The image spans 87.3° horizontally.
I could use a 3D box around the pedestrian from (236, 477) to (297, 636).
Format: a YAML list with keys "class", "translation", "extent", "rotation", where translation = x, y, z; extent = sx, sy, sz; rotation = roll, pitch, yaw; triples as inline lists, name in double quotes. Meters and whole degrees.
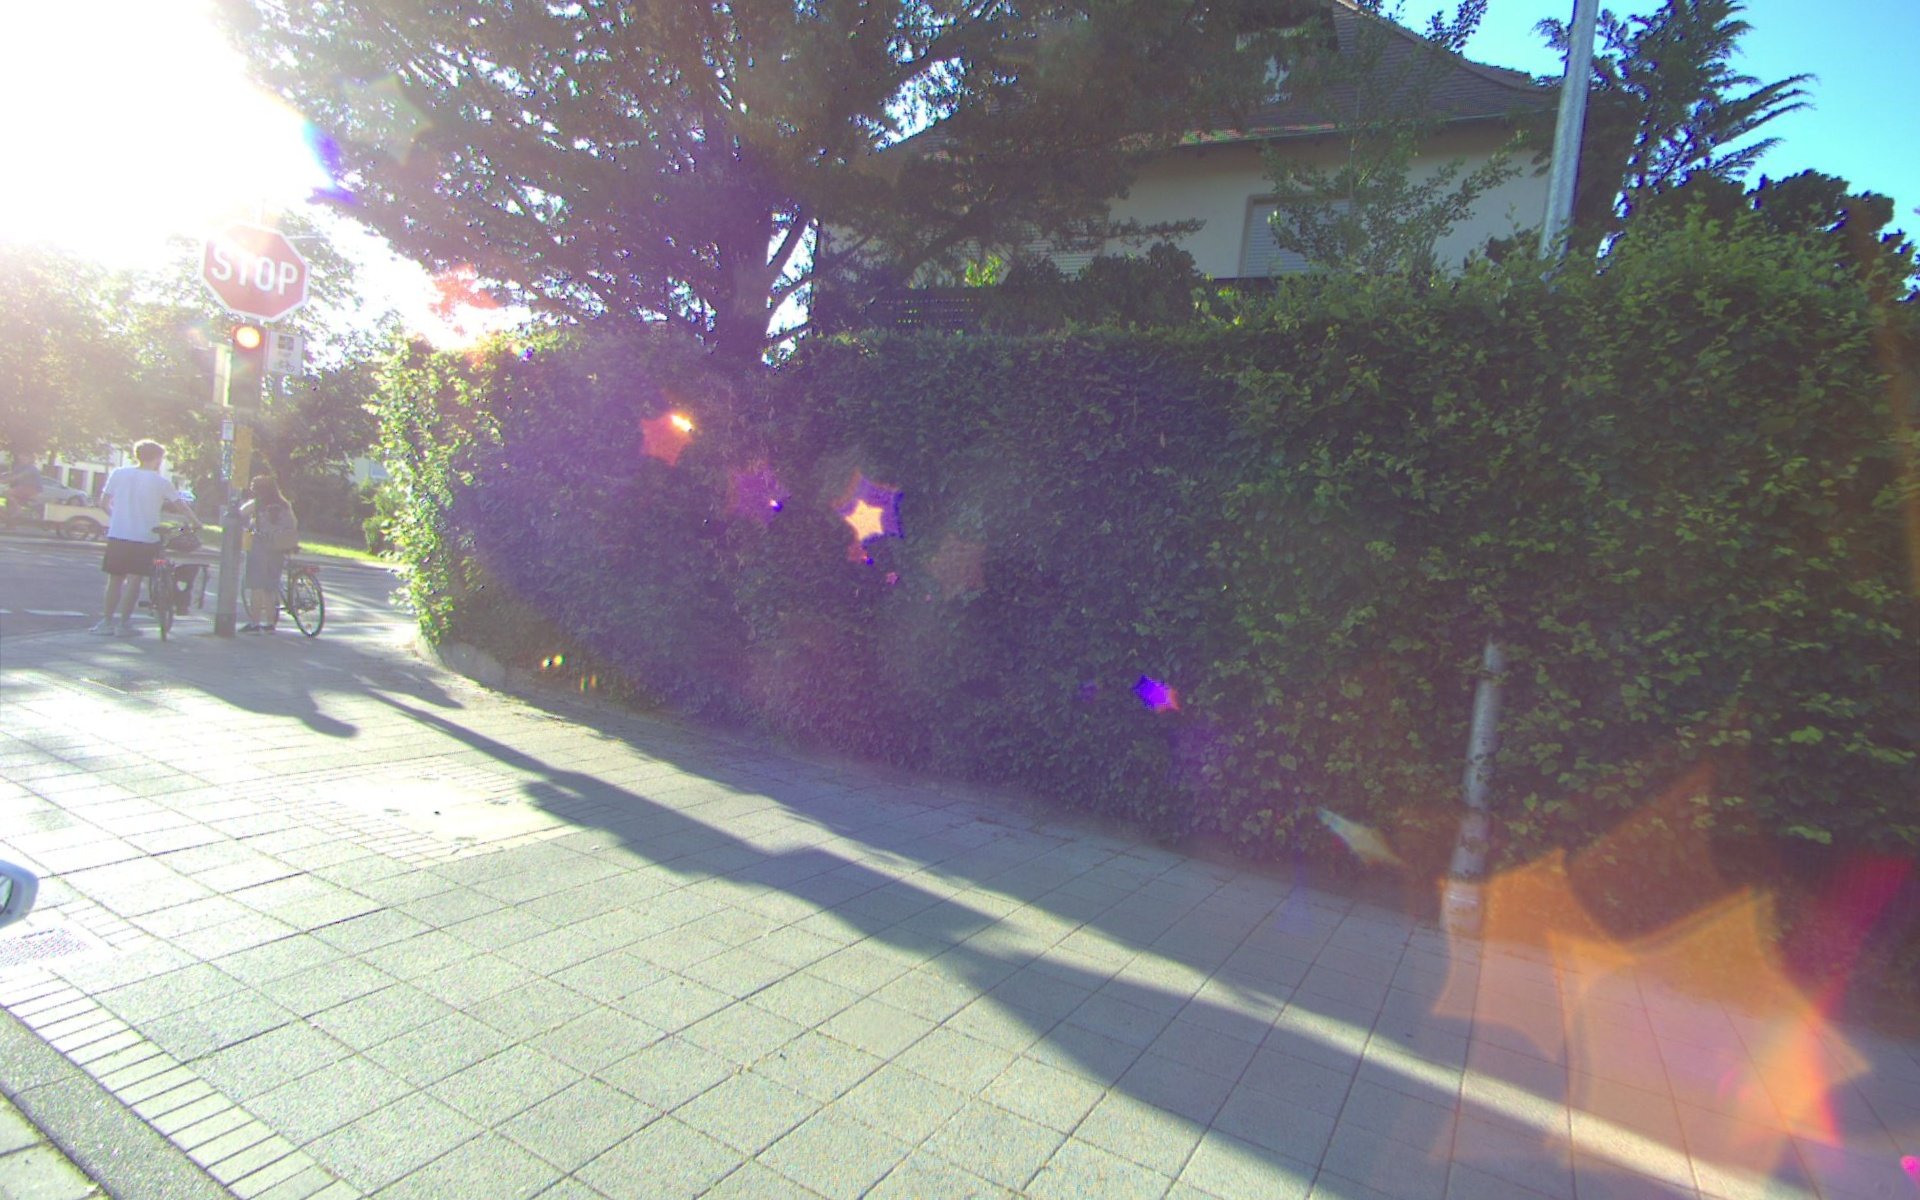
- class: "pedestrian"
  translation: [-7.317, -0.451, 10.609]
  extent: [0.347, 1.604, 0.458]
  rotation: [8, -1, -37]

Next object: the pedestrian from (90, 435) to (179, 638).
- class: "pedestrian"
  translation: [-8.111, -0.612, 9.896]
  extent: [0.624, 1.893, 0.765]
  rotation: [2, 5, -39]

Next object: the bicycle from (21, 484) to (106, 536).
- class: "bicycle"
  translation: [-23.321, -2.334, 26.187]
  extent: [0.460, 1.103, 1.520]
  rotation: [8, 1, 39]

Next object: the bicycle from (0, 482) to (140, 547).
- class: "bicycle"
  translation: [-20.898, -1.988, 23.098]
  extent: [0.863, 1.176, 3.067]
  rotation: [7, 1, 42]

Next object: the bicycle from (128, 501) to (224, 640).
- class: "bicycle"
  translation: [-7.746, -0.326, 9.989]
  extent: [0.569, 1.198, 1.886]
  rotation: [8, -1, -37]

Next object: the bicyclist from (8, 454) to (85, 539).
- class: "bicyclist"
  translation: [-20.905, -2.352, 23.029]
  extent: [0.863, 1.745, 1.142]
  rotation: [7, 2, 42]

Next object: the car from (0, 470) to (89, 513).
- class: "car"
  translation: [-46.444, -5.458, 50.383]
  extent: [1.497, 1.542, 3.933]
  rotation: [6, -2, 25]
